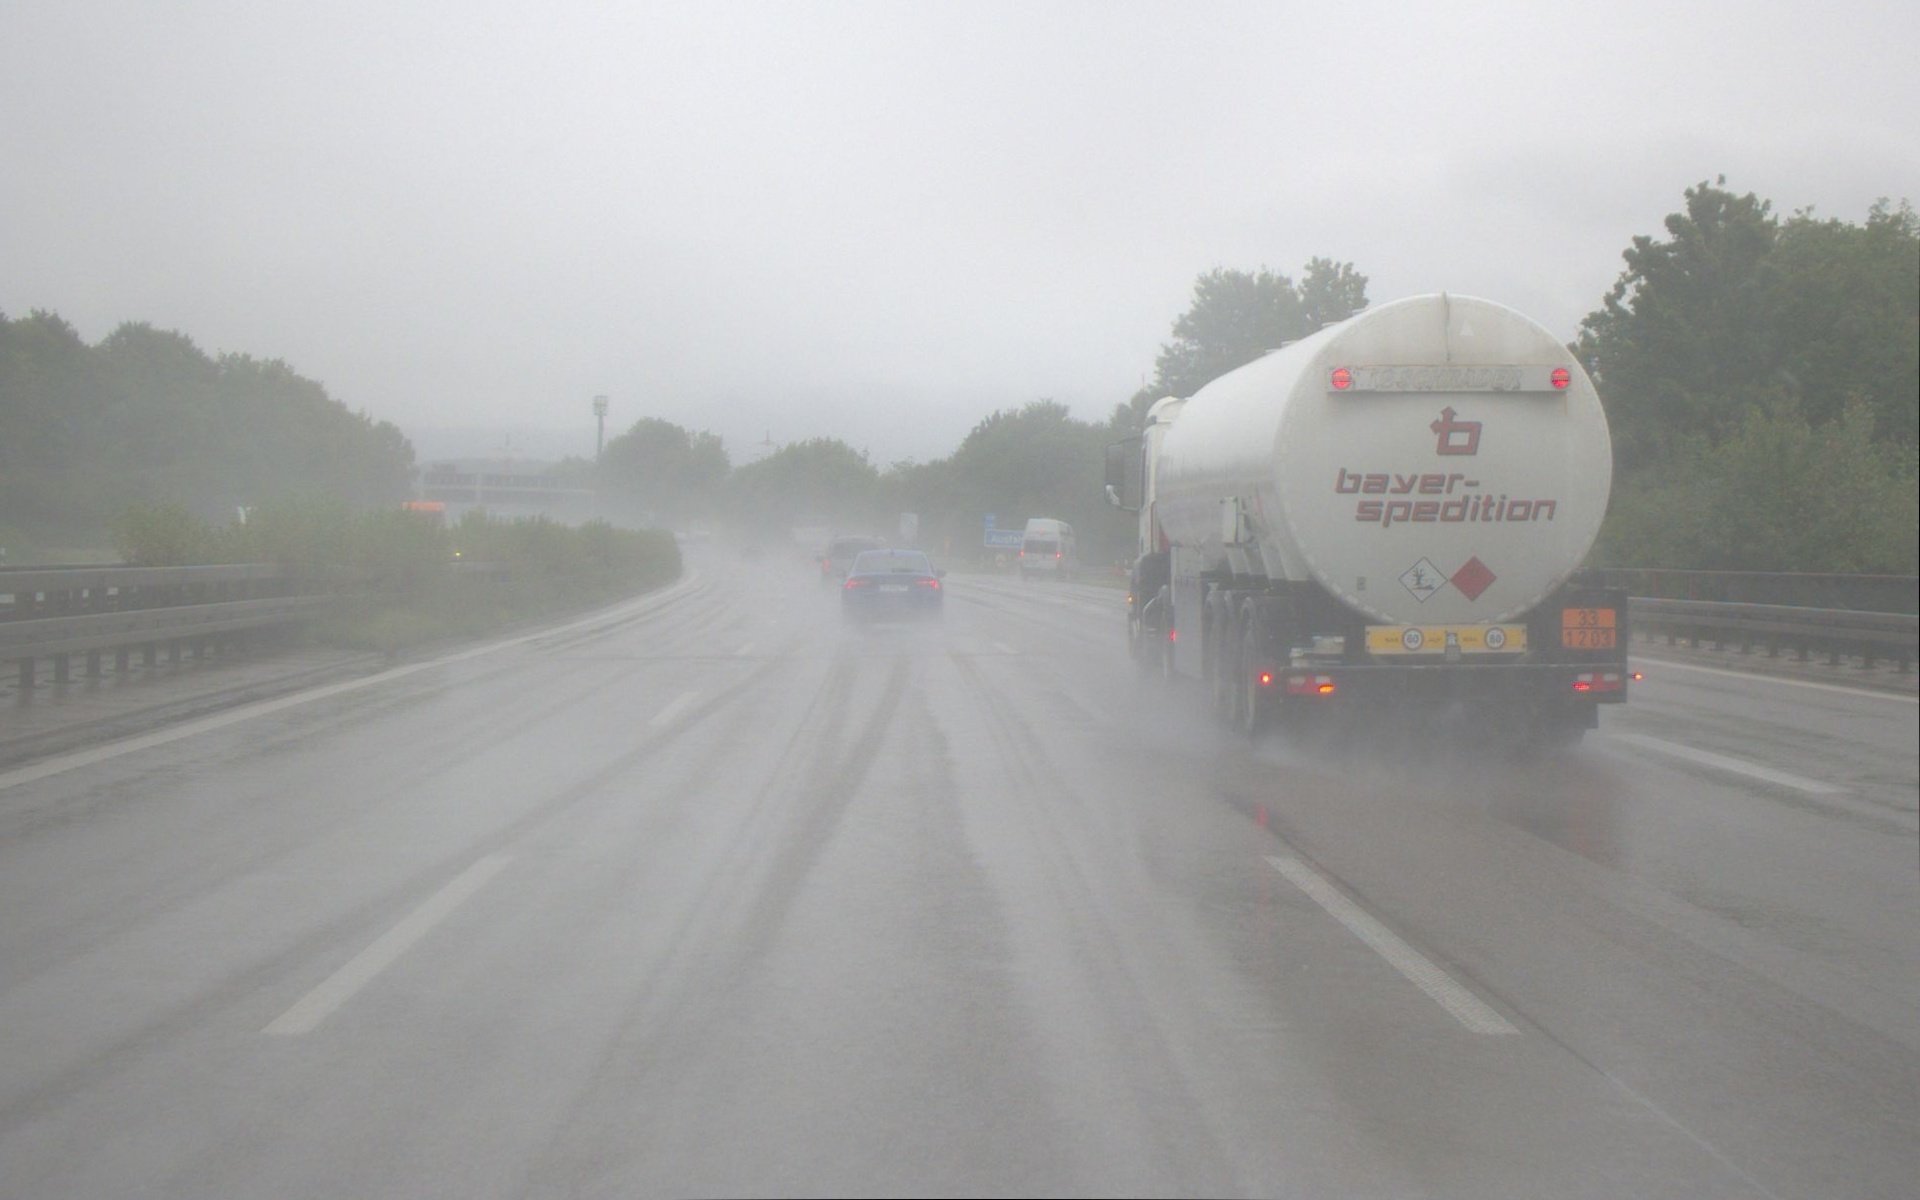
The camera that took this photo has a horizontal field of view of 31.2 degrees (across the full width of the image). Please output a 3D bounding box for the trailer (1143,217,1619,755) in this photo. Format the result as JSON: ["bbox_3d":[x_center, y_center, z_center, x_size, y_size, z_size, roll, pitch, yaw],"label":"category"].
[{"bbox_3d":[3.231,-0.891,28.864,3.004,3.834,8.624,0,1,1],"label":"trailer"}]

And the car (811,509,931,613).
[{"bbox_3d":[-1.622,-0.727,60.893,1.978,1.750,4.482,0,2,-3],"label":"car"}]

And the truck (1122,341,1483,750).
[{"bbox_3d":[3.234,-0.542,34.125,2.943,3.671,6.362,0,1,0],"label":"truck"}]
